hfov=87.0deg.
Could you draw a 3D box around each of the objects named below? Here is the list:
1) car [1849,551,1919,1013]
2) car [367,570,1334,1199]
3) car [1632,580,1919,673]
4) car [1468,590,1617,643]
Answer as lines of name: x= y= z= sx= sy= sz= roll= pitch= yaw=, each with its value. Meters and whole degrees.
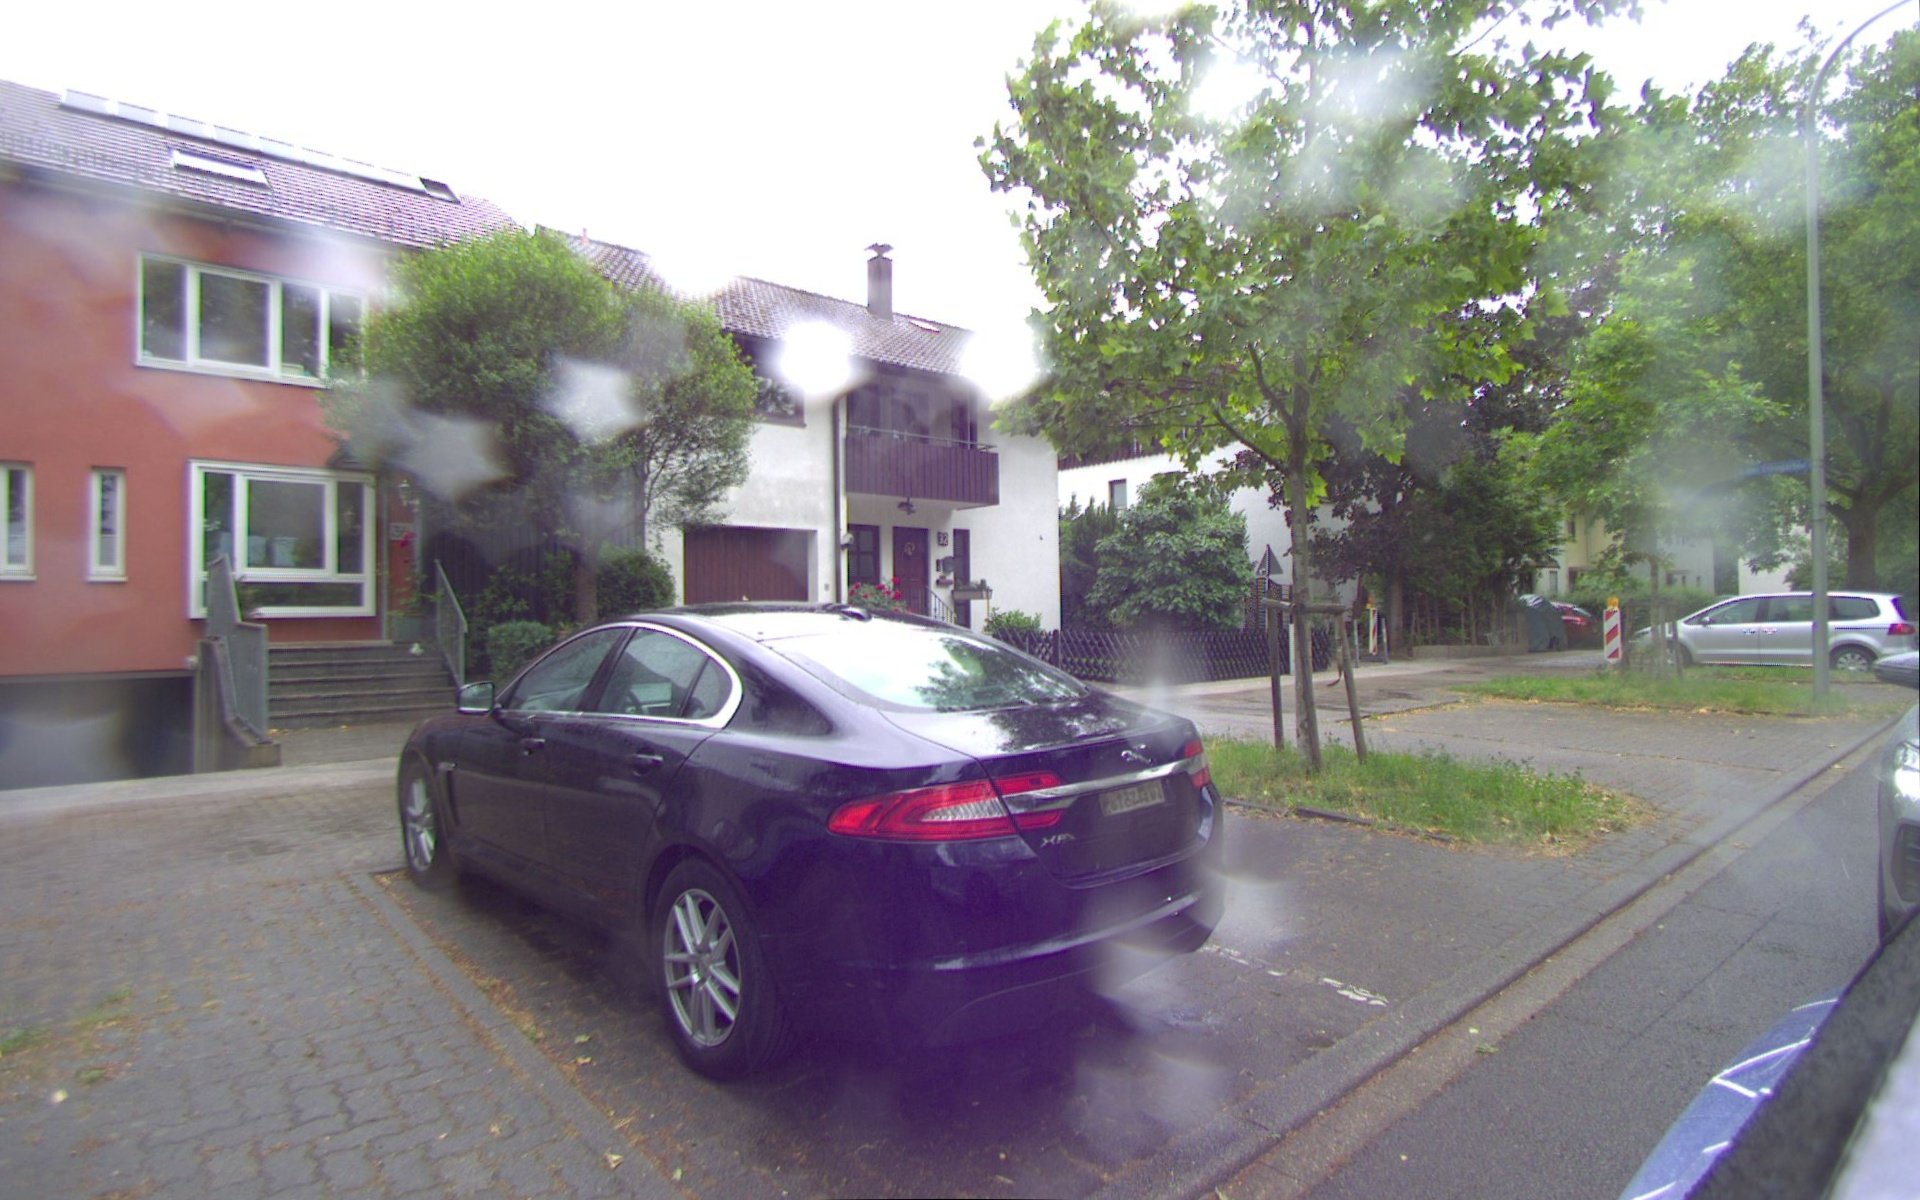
car: x=5.527 y=0.646 z=4.437 sx=4.346 sy=1.638 sz=1.861 roll=0 pitch=0 yaw=-41
car: x=-0.991 y=0.674 z=4.666 sx=1.906 sy=1.491 sz=4.768 roll=0 pitch=0 yaw=-45
car: x=16.647 y=0.484 z=20.545 sx=1.942 sy=1.682 sz=4.694 roll=0 pitch=0 yaw=-42
car: x=19.003 y=0.507 z=33.129 sx=1.809 sy=1.633 sz=3.853 roll=0 pitch=0 yaw=-39
